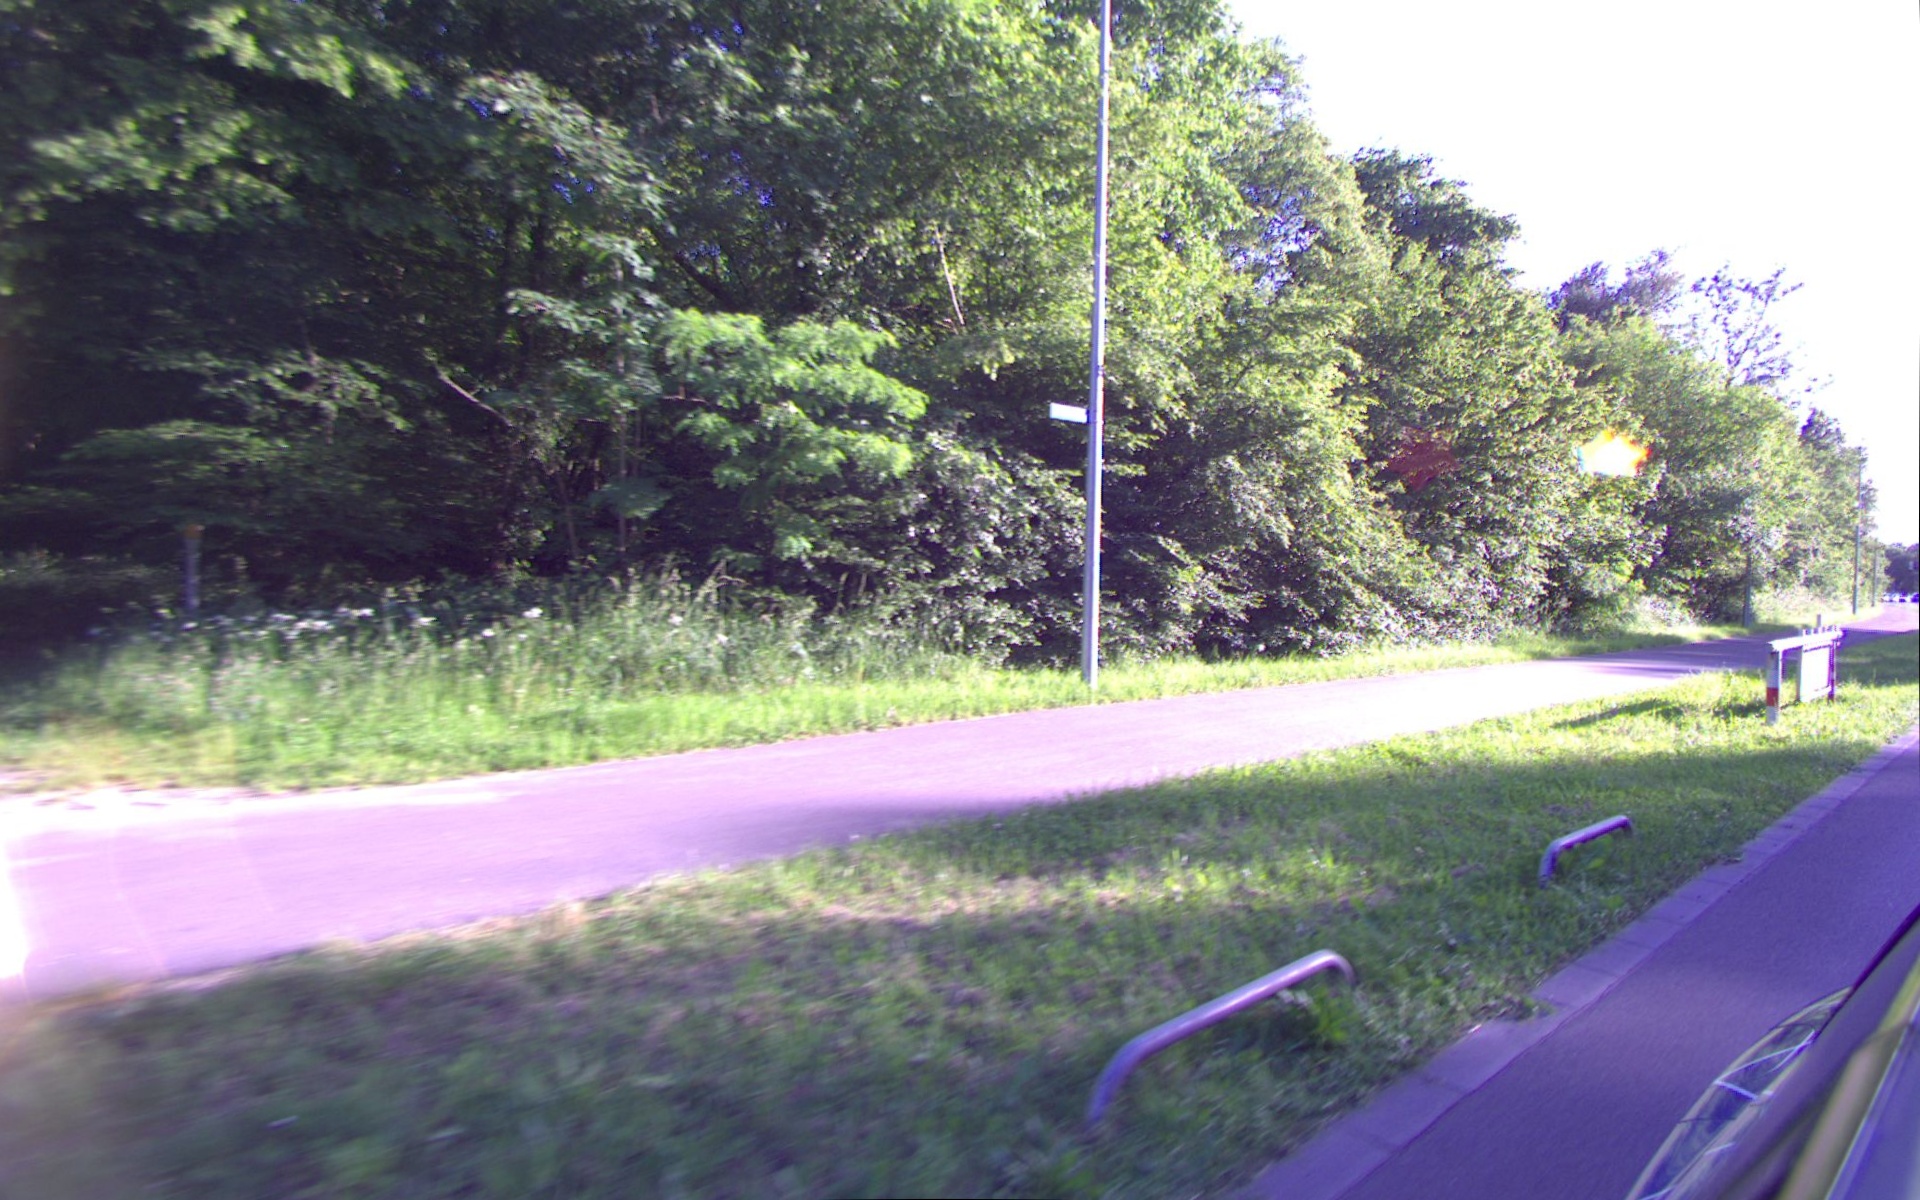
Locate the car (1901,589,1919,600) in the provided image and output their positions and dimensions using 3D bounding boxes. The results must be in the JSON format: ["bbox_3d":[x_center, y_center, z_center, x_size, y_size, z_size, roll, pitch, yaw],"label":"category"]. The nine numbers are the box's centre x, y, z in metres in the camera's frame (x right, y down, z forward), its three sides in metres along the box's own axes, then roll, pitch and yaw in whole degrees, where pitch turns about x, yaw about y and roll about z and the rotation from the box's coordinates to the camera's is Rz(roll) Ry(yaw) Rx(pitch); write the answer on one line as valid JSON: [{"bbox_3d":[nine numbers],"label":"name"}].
[{"bbox_3d":[152.412,-0.895,162.213,1.989,1.537,3.947,1,2,37],"label":"car"}]
